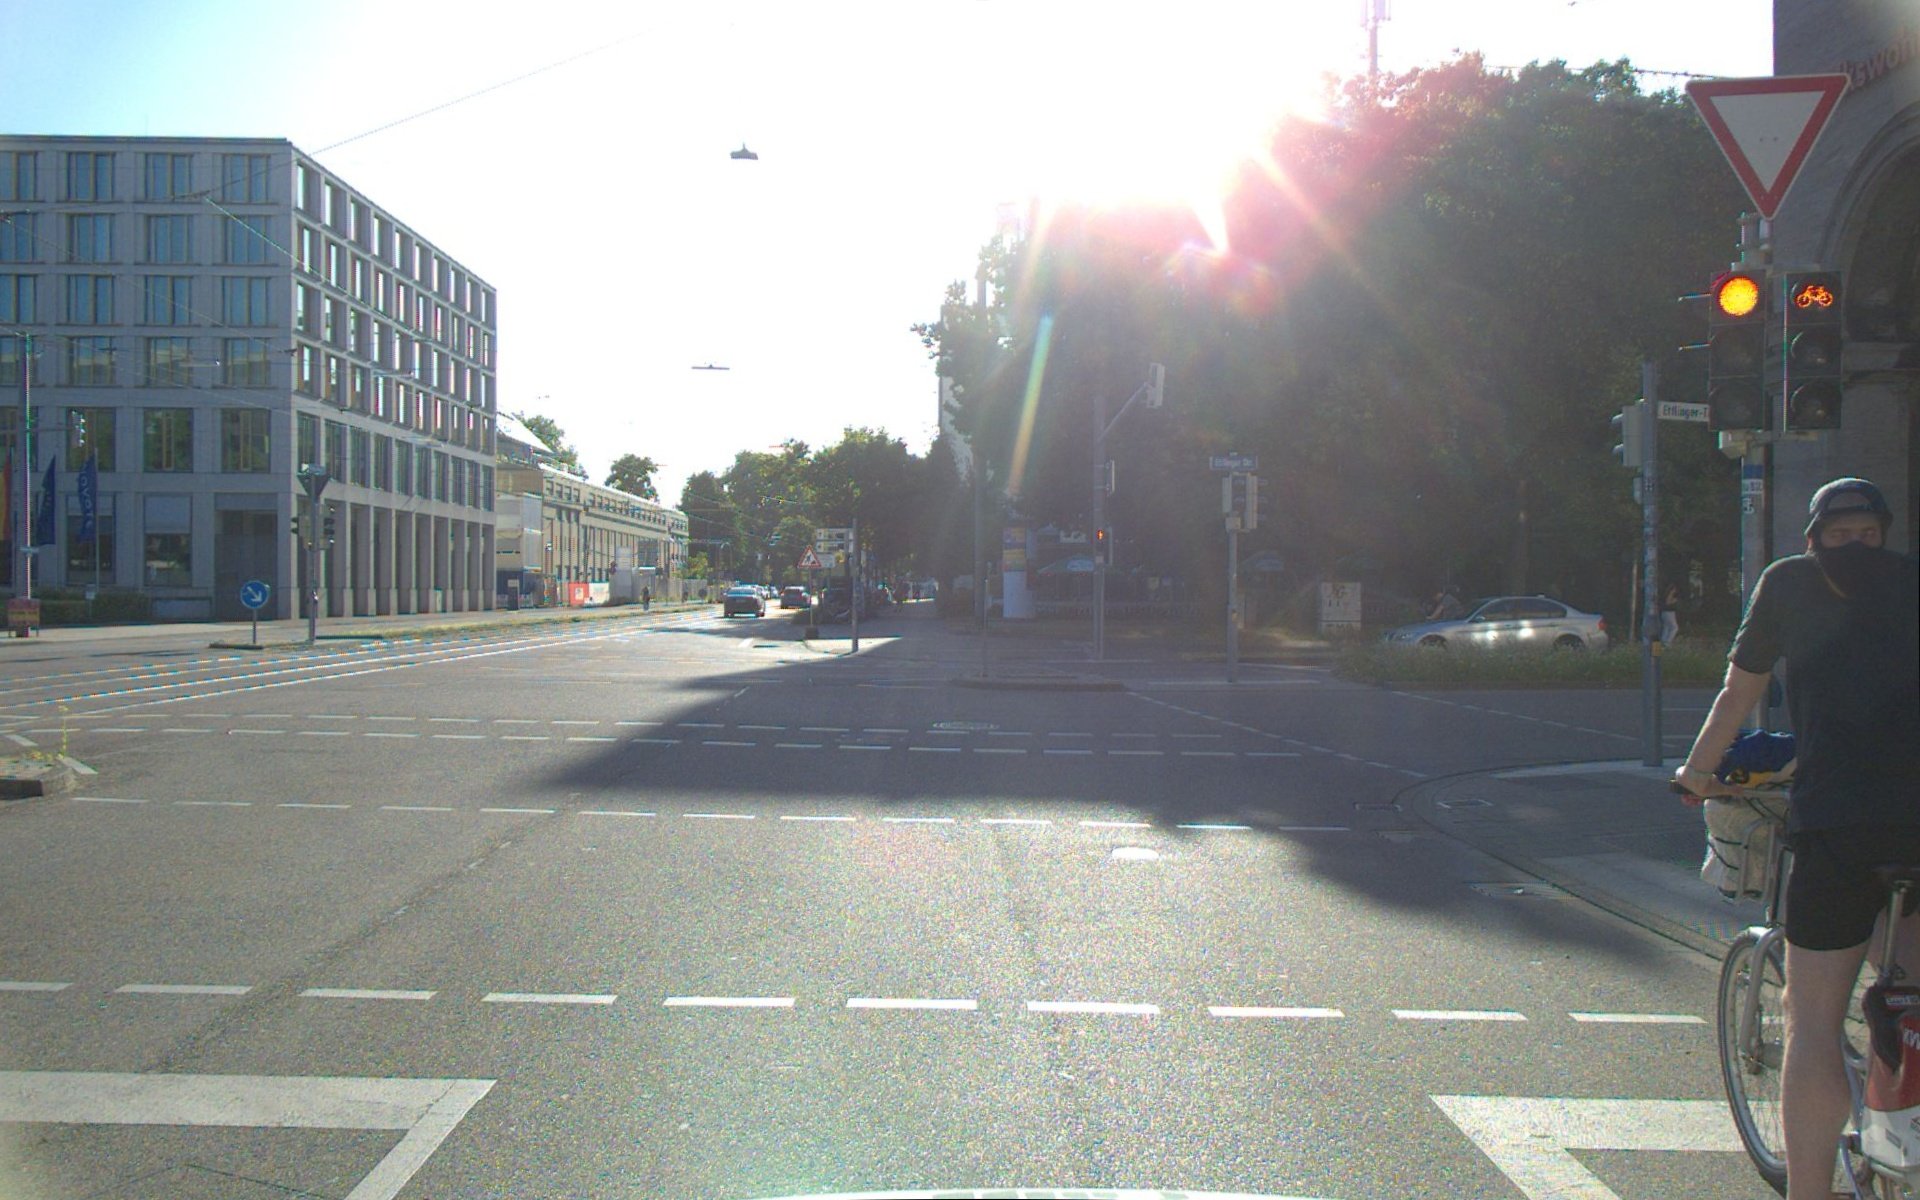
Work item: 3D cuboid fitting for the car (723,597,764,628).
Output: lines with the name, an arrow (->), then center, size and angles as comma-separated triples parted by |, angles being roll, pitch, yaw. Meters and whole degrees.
car -> -10.789, 0.605, 82.725 | 1.627, 1.481, 4.430 | 1, 0, -2

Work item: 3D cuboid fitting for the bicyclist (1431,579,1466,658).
bicyclist -> 10.660, 0.410, 36.112 | 0.630, 1.712, 0.507 | 0, 0, 5

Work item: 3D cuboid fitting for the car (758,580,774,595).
car -> -22.823, -1.433, 194.356 | 1.659, 1.748, 4.244 | 1, 0, -4

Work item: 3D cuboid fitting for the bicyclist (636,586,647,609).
bicyclist -> -19.995, -0.163, 103.850 | 0.584, 1.401, 0.637 | 1, -1, -2

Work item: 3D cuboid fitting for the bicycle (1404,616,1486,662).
bicycle -> 10.587, 0.843, 36.124 | 1.631, 0.980, 0.534 | 0, 0, 5

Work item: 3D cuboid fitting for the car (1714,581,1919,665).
car -> 17.540, 0.453, 33.545 | 3.770, 1.639, 1.650 | 0, 0, -1

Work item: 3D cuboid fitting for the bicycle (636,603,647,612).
bicycle -> -20.010, 0.469, 103.822 | 0.491, 0.524, 1.257 | 1, 0, -1

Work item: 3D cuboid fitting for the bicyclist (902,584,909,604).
bicyclist -> -4.704, -0.542, 143.371 | 0.558, 1.721, 0.699 | 0, 0, -1

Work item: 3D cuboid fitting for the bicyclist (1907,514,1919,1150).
bicyclist -> 2.889, 0.632, 4.224 | 0.546, 1.721, 0.640 | 1, 0, -2

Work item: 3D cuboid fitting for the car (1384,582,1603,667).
car -> 10.777, 0.480, 33.556 | 3.912, 1.639, 1.650 | 0, 0, -1

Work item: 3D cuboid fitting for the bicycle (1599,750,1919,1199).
bicycle -> 2.077, 0.985, 3.884 | 0.505, 1.096, 1.728 | 1, 0, 1

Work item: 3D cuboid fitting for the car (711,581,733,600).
car -> -22.465, -0.895, 156.107 | 1.659, 1.748, 4.244 | 1, 0, -4

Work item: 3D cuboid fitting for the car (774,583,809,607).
car -> -11.827, -0.381, 116.104 | 1.853, 1.592, 4.808 | 3, 1, 1

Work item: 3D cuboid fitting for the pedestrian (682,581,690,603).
pedestrian -> -25.245, -0.756, 152.375 | 0.660, 2.049, 0.751 | 1, -1, -3

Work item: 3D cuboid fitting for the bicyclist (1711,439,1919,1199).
bicyclist -> 2.096, 0.582, 3.726 | 0.547, 1.830, 0.550 | 1, 0, 1

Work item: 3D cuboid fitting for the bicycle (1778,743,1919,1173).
bicycle -> 2.865, 1.004, 4.332 | 0.523, 1.096, 1.750 | 1, 0, -2

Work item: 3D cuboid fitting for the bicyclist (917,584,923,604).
bicyclist -> -3.469, -0.532, 143.397 | 0.558, 1.721, 0.699 | 0, 0, -1

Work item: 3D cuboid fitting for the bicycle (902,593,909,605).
bicycle -> -4.695, -0.087, 143.341 | 0.563, 1.096, 1.830 | 0, 0, -1

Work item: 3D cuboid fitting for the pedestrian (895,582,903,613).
pedestrian -> -3.612, -0.135, 97.656 | 0.454, 1.845, 0.502 | 0, 0, -5

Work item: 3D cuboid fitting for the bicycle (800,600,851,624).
bicycle -> -5.481, 0.510, 67.378 | 1.976, 0.907, 0.650 | -2, -1, 27

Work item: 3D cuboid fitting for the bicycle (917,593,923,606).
bicycle -> -3.450, -0.063, 143.329 | 0.563, 1.096, 1.830 | 0, 0, -1
